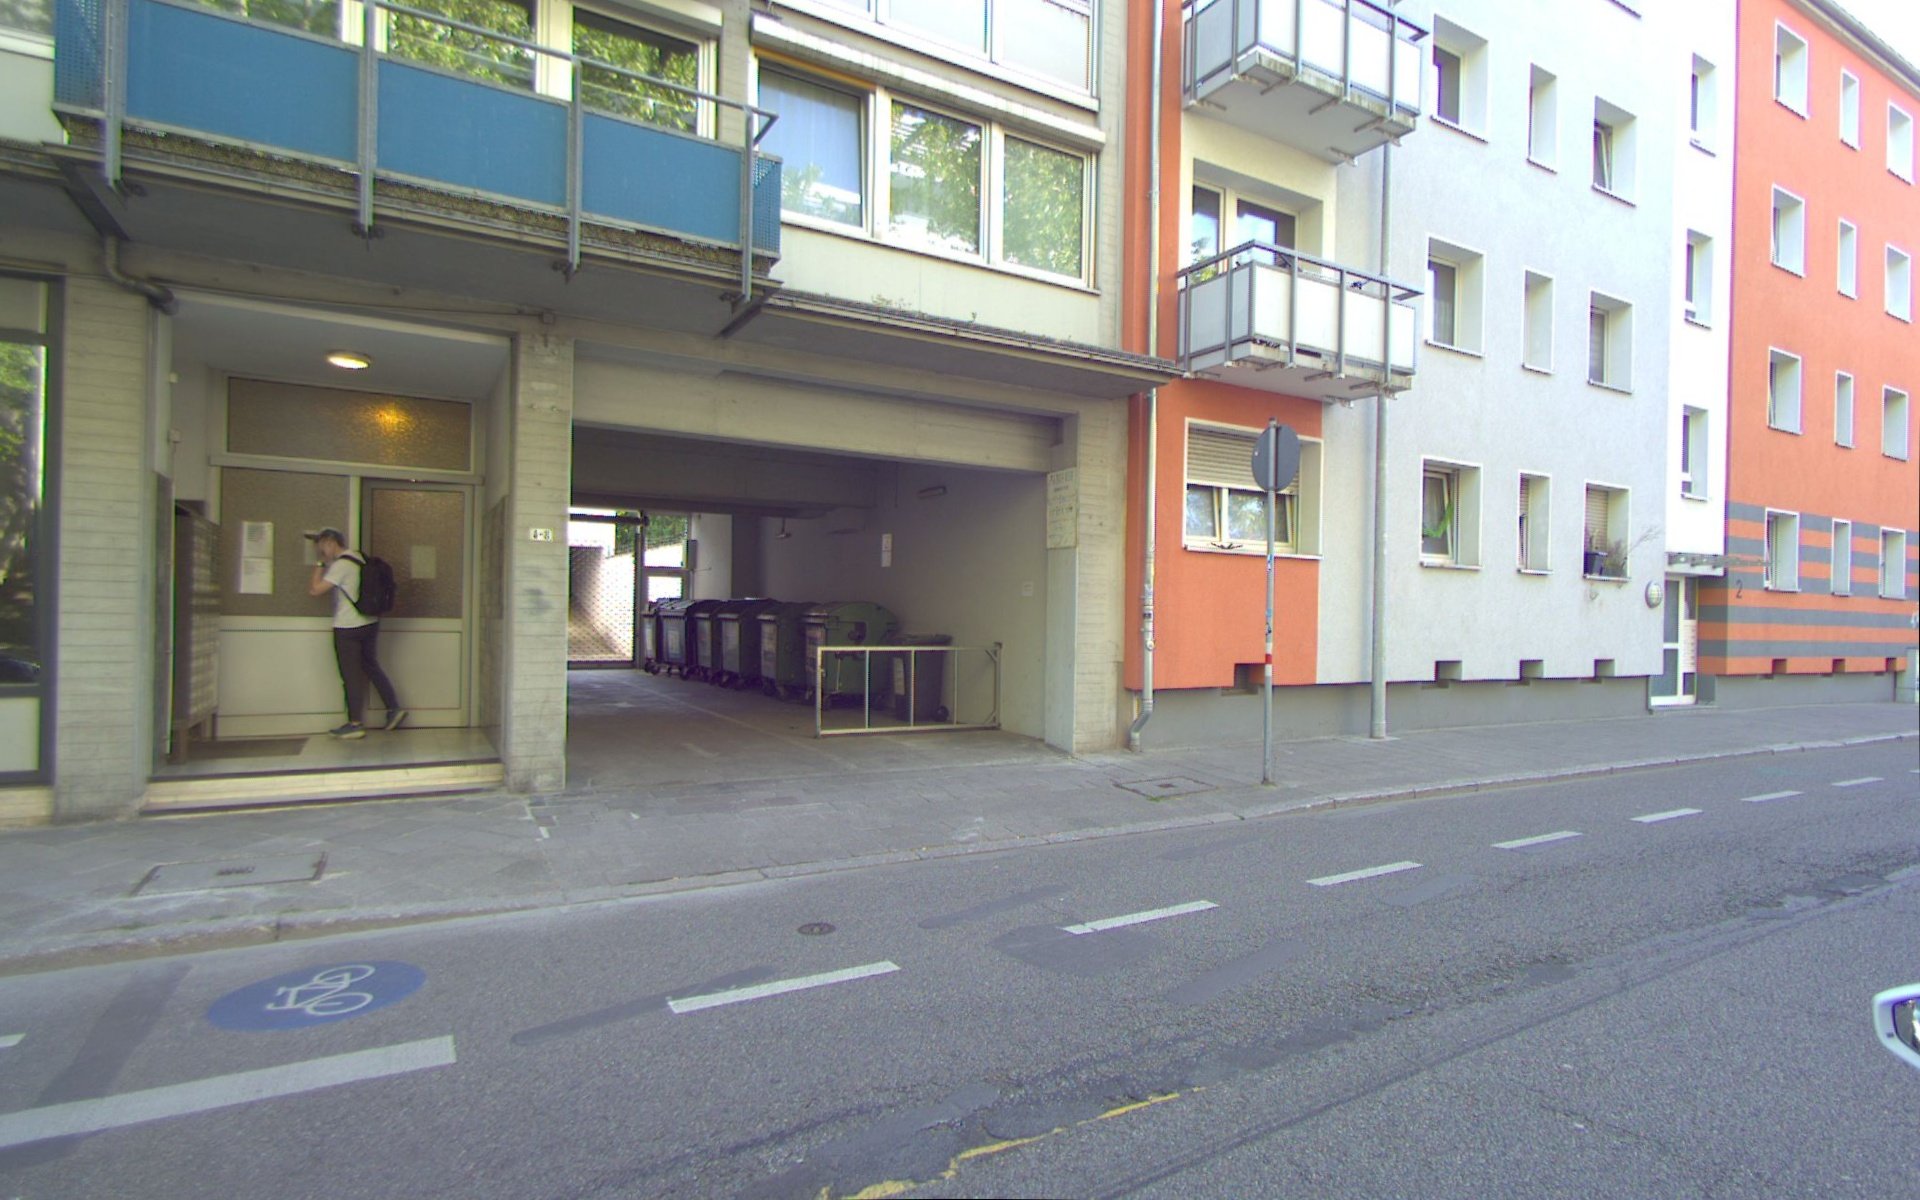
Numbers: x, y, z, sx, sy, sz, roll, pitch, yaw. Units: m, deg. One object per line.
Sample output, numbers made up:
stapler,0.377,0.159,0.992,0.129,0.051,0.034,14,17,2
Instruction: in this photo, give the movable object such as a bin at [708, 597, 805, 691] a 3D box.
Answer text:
movable object such as a bin,-3.379,0.707,16.614,1.186,1.467,1.319,2,0,-30

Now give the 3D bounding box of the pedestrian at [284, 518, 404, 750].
pedestrian,-5.304,0.289,8.686,0.776,1.904,0.578,2,0,-25

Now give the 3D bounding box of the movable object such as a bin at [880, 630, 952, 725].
movable object such as a bin,-0.545,0.947,12.405,0.745,1.116,0.463,2,0,-30

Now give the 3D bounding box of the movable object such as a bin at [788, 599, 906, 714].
movable object such as a bin,-1.573,0.747,13.797,1.159,1.467,1.319,2,0,-30

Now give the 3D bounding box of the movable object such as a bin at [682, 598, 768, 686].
movable object such as a bin,-4.150,0.728,17.705,1.186,1.467,1.114,2,0,-30

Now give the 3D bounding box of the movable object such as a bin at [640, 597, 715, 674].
movable object such as a bin,-5.625,0.695,19.977,1.186,1.467,1.027,2,0,-30

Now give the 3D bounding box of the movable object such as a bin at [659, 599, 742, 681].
movable object such as a bin,-4.849,0.730,18.748,1.186,1.467,1.222,2,0,-30

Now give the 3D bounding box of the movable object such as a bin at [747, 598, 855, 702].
movable object such as a bin,-2.413,0.729,15.130,1.186,1.467,1.319,2,0,-30
